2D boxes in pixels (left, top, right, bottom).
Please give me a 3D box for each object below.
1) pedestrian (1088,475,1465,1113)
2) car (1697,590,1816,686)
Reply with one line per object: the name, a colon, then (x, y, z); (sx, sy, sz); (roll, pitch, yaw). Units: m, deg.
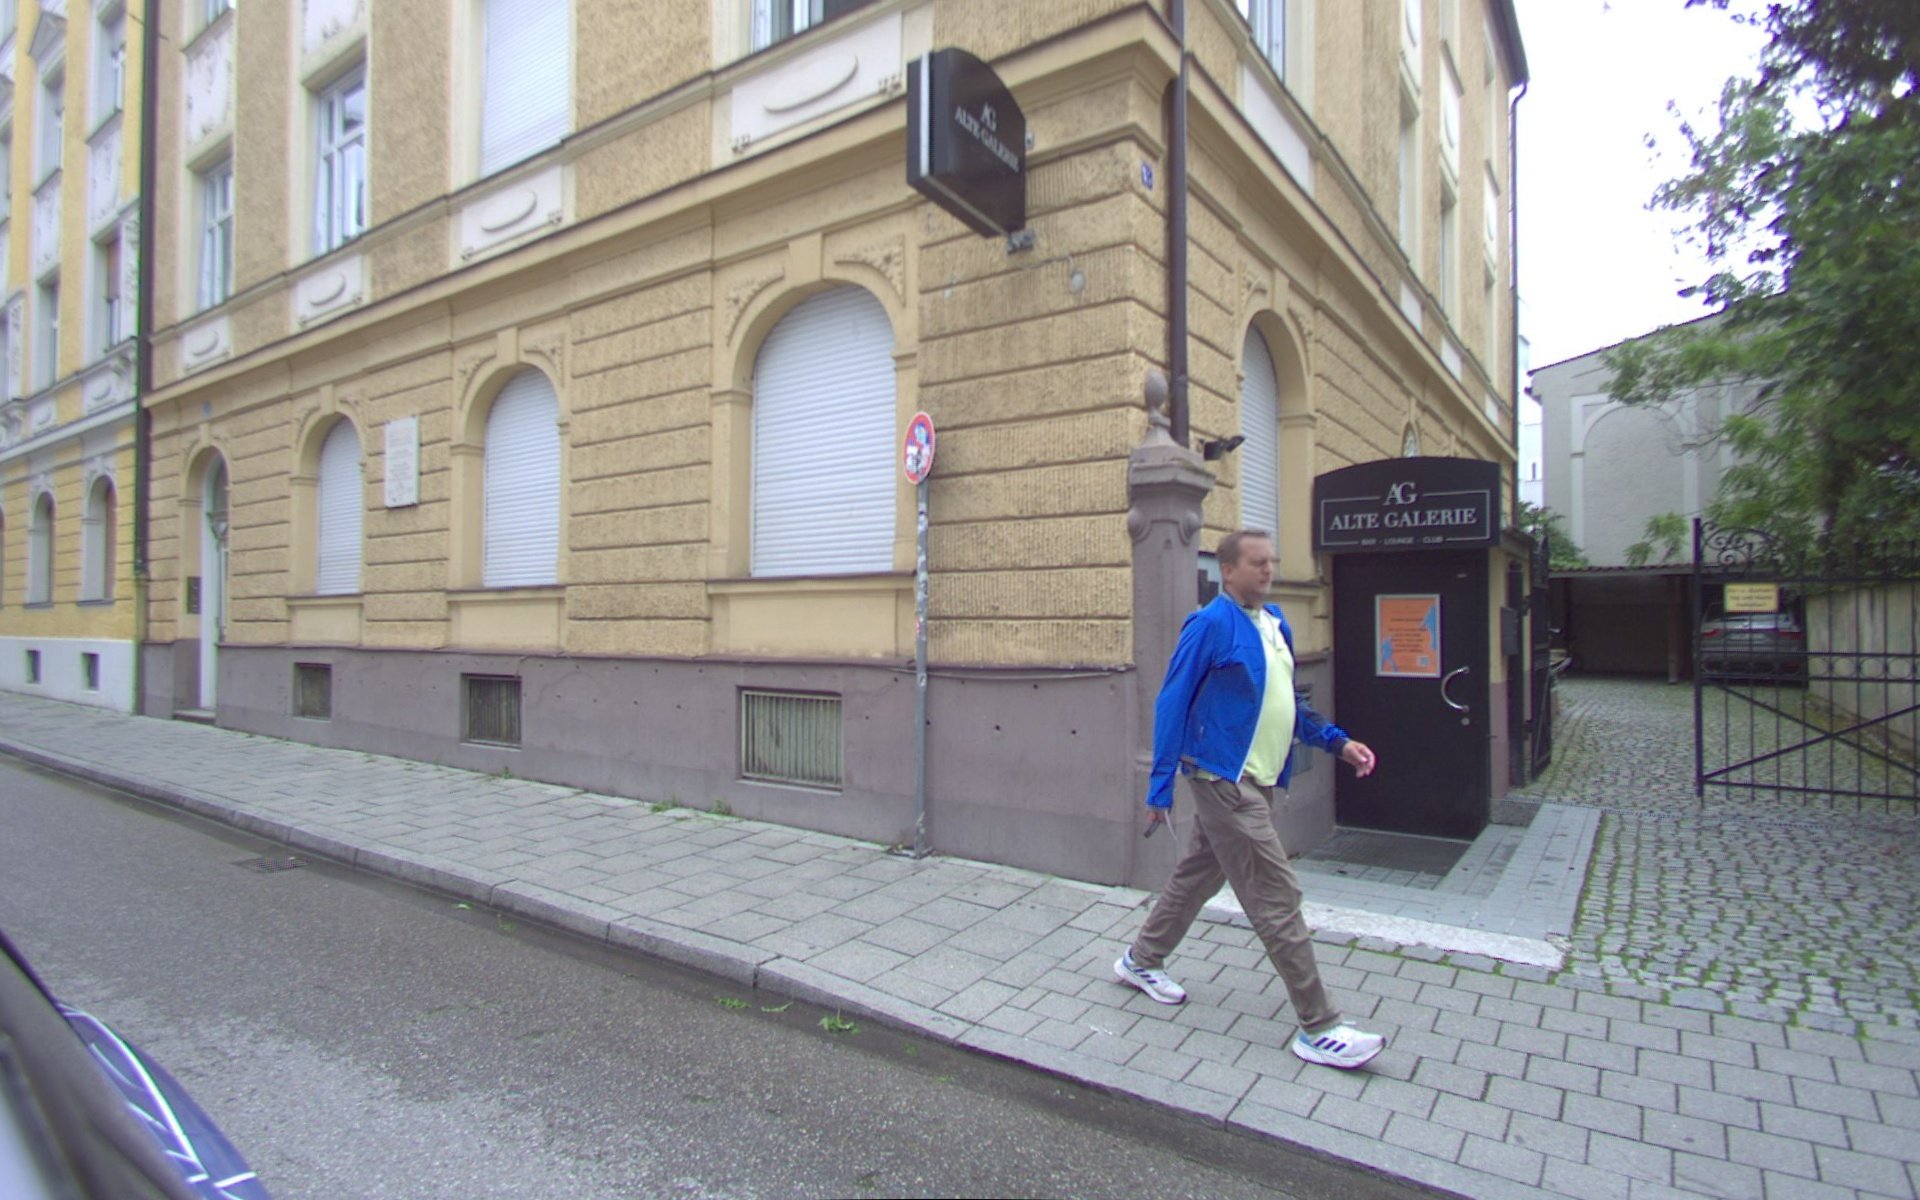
pedestrian: (1.121, 0.571, 3.589); (1.074, 1.868, 0.750); (-1, 0, 35)
car: (15.265, 0.648, 19.336); (1.633, 1.552, 3.682); (-1, 1, 40)
